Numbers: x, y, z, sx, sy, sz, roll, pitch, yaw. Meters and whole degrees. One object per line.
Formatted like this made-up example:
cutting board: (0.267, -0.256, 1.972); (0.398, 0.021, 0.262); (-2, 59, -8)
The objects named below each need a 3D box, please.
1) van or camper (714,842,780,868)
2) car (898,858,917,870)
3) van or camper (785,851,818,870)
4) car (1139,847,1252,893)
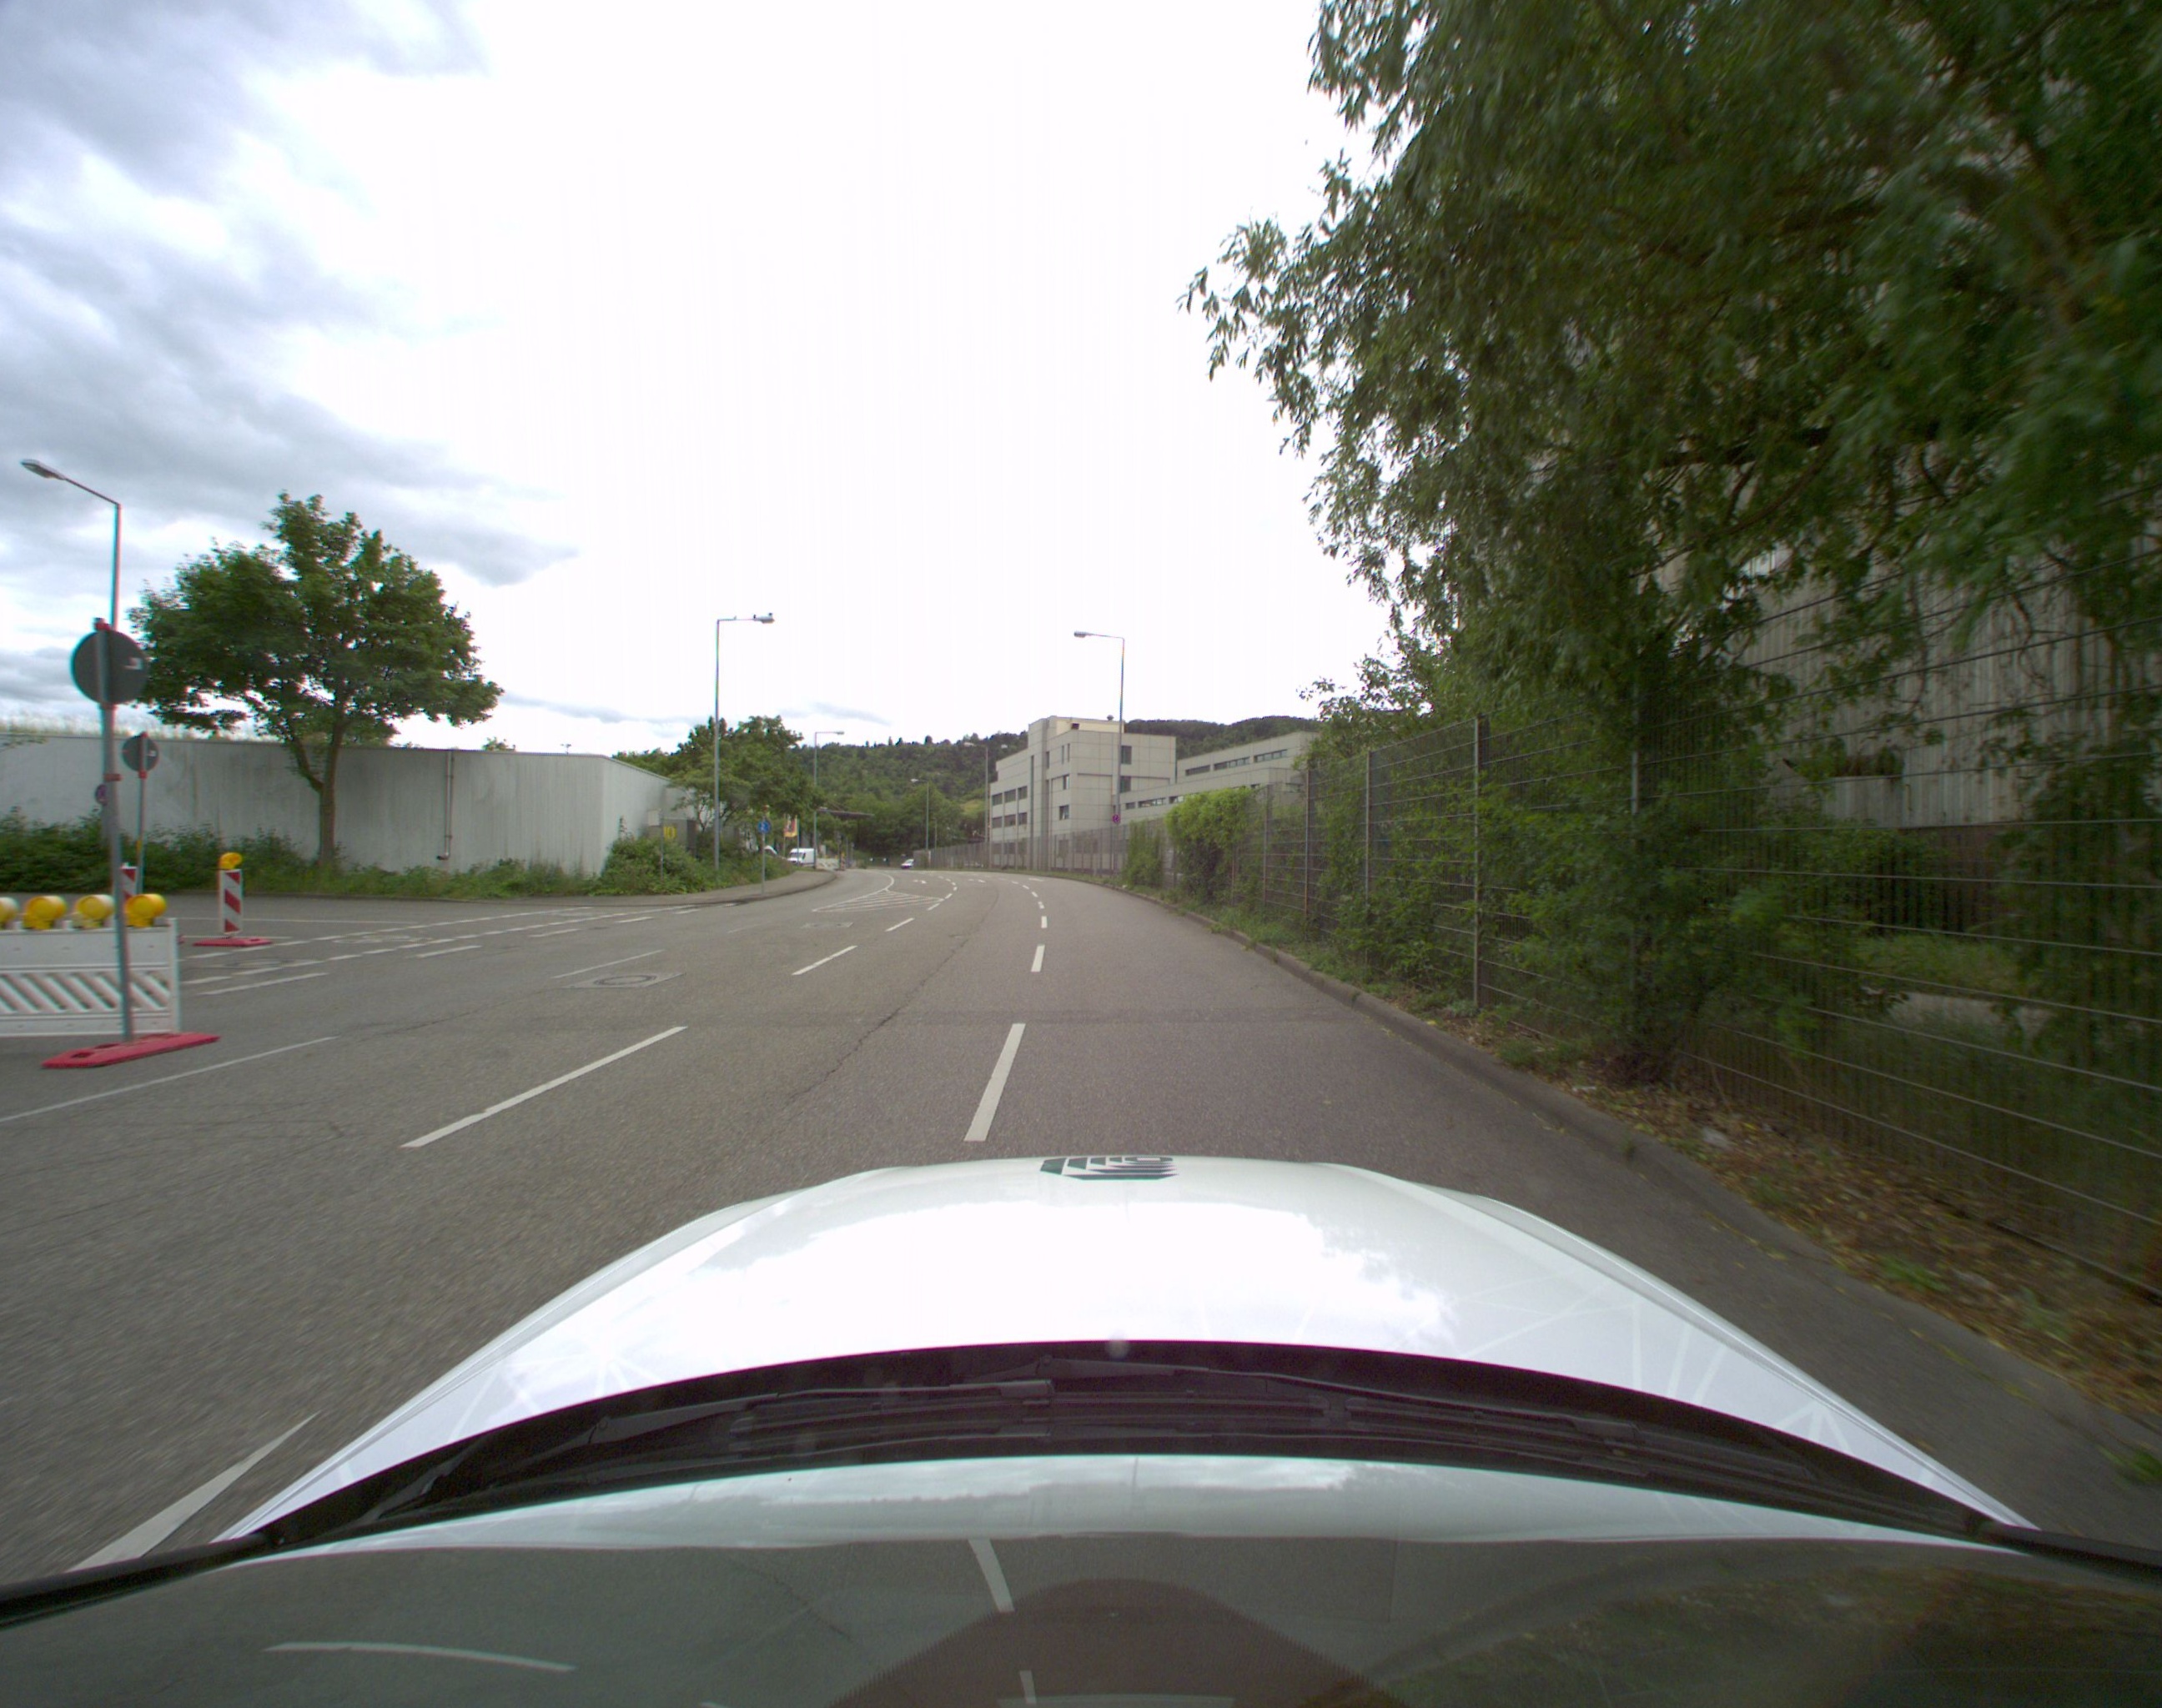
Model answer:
van or camper: (-34.098, 0.132, 83.381); (6.003, 2.247, 2.380); (3, -2, -20)
car: (-30.382, 1.797, 142.549); (1.983, 2.014, 4.139); (1, -1, 7)
van or camper: (-35.905, 0.864, 104.730); (2.002, 2.326, 6.649); (0, -2, -1)
car: (5.886, 0.789, 42.701); (2.010, 2.263, 6.099); (2, -1, -39)
